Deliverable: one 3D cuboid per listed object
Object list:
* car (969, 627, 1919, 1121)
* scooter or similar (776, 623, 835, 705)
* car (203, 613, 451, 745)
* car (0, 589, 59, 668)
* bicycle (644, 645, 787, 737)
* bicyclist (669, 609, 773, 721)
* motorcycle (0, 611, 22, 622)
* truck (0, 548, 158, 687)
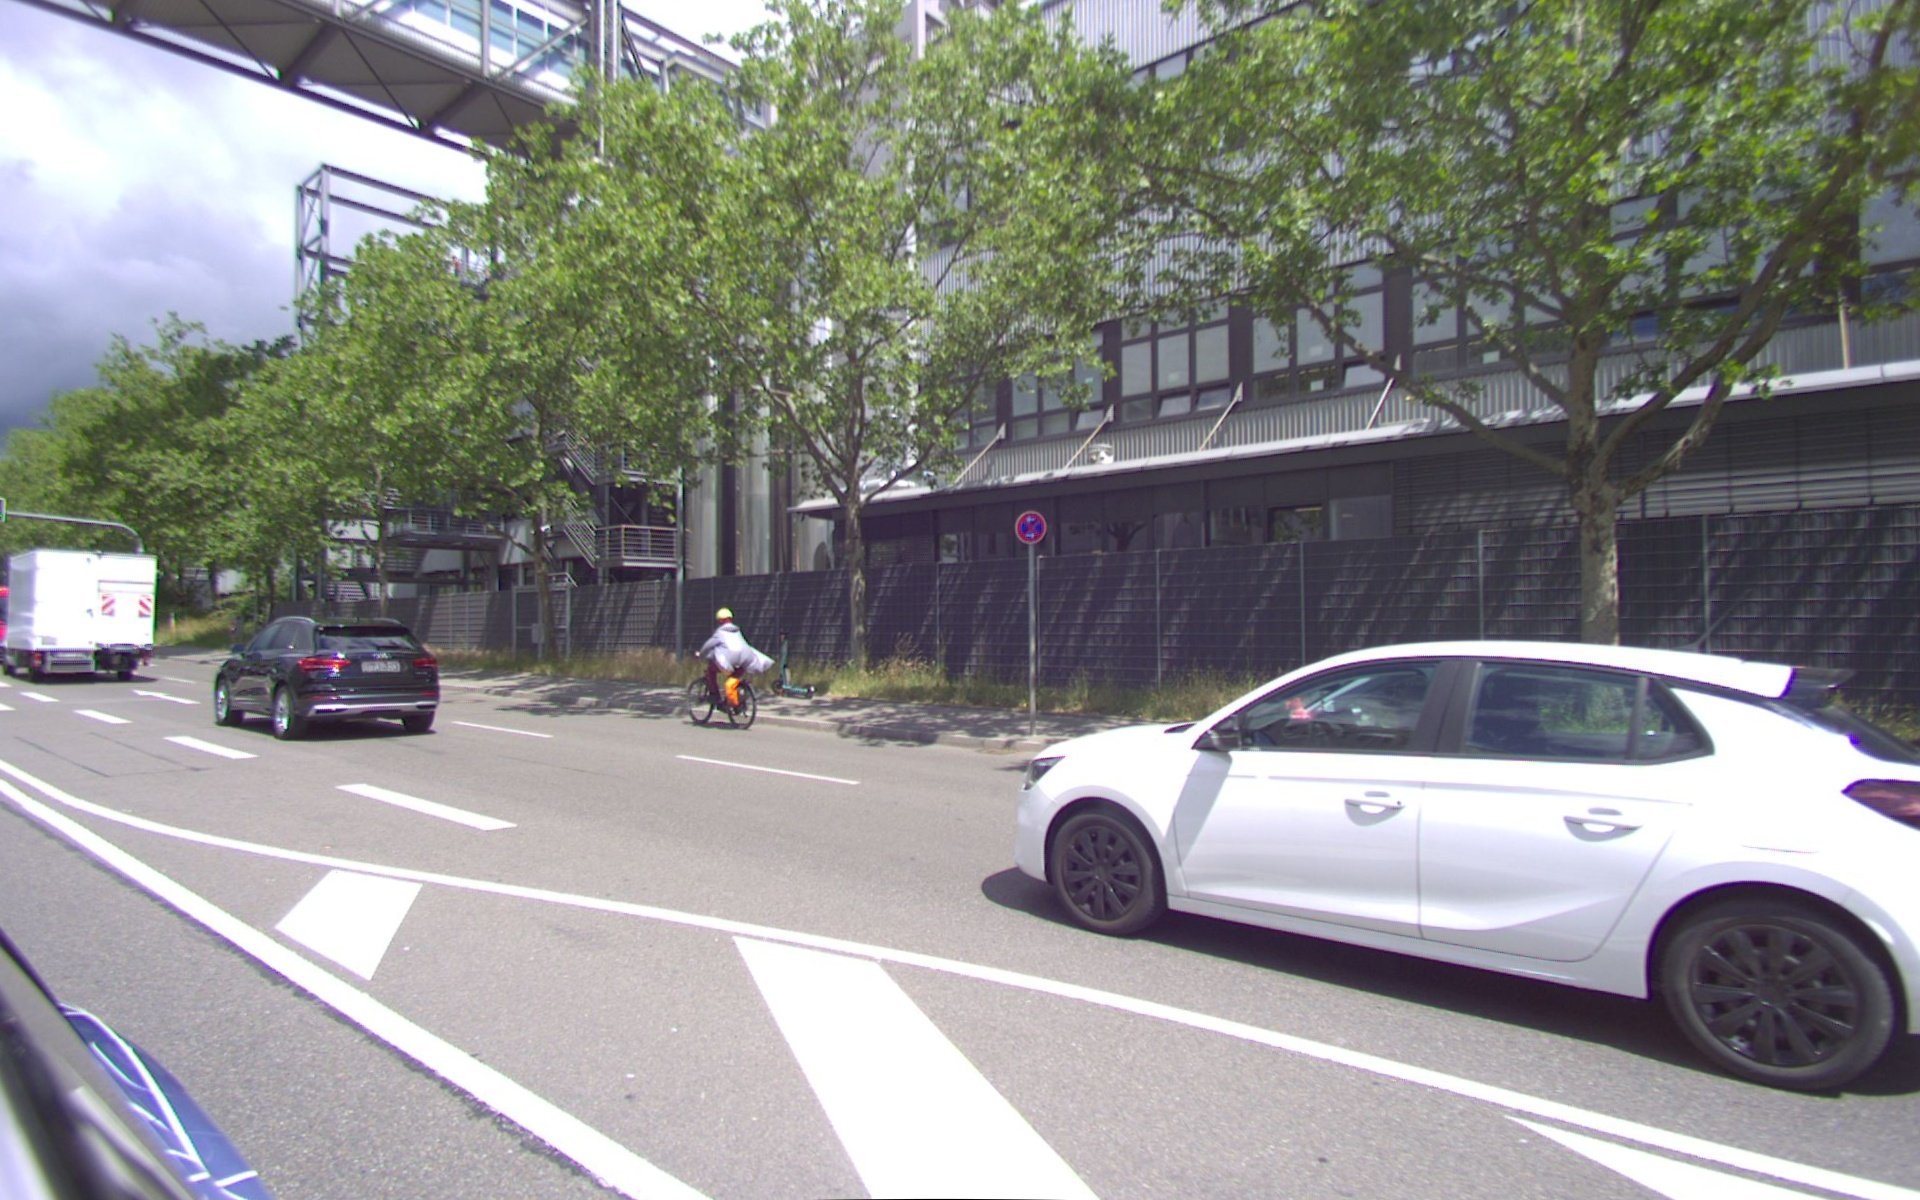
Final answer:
[{"bbox_3d":[2.170,0.859,4.594,4.142,1.426,1.674,-1,-3,40],"label":"car"},{"bbox_3d":[-2.803,1.142,18.340,1.234,1.414,0.300,-1,0,40],"label":"scooter or similar"},{"bbox_3d":[-9.030,1.019,14.294,4.264,1.593,1.722,-1,-3,40],"label":"car"},{"bbox_3d":[-32.700,0.967,34.602,5.476,2.526,2.042,-1,-3,40],"label":"car"},{"bbox_3d":[-3.768,1.346,15.452,2.470,1.244,0.729,0,-3,38],"label":"bicycle"},{"bbox_3d":[-3.634,0.966,15.416,1.221,1.610,0.947,-1,-3,37],"label":"bicyclist"},{"bbox_3d":[-94.289,1.646,99.657,0.600,1.044,2.793,-4,-2,43],"label":"motorcycle"},{"bbox_3d":[-23.230,0.485,26.275,7.241,3.153,2.426,0,-4,42],"label":"truck"}]
